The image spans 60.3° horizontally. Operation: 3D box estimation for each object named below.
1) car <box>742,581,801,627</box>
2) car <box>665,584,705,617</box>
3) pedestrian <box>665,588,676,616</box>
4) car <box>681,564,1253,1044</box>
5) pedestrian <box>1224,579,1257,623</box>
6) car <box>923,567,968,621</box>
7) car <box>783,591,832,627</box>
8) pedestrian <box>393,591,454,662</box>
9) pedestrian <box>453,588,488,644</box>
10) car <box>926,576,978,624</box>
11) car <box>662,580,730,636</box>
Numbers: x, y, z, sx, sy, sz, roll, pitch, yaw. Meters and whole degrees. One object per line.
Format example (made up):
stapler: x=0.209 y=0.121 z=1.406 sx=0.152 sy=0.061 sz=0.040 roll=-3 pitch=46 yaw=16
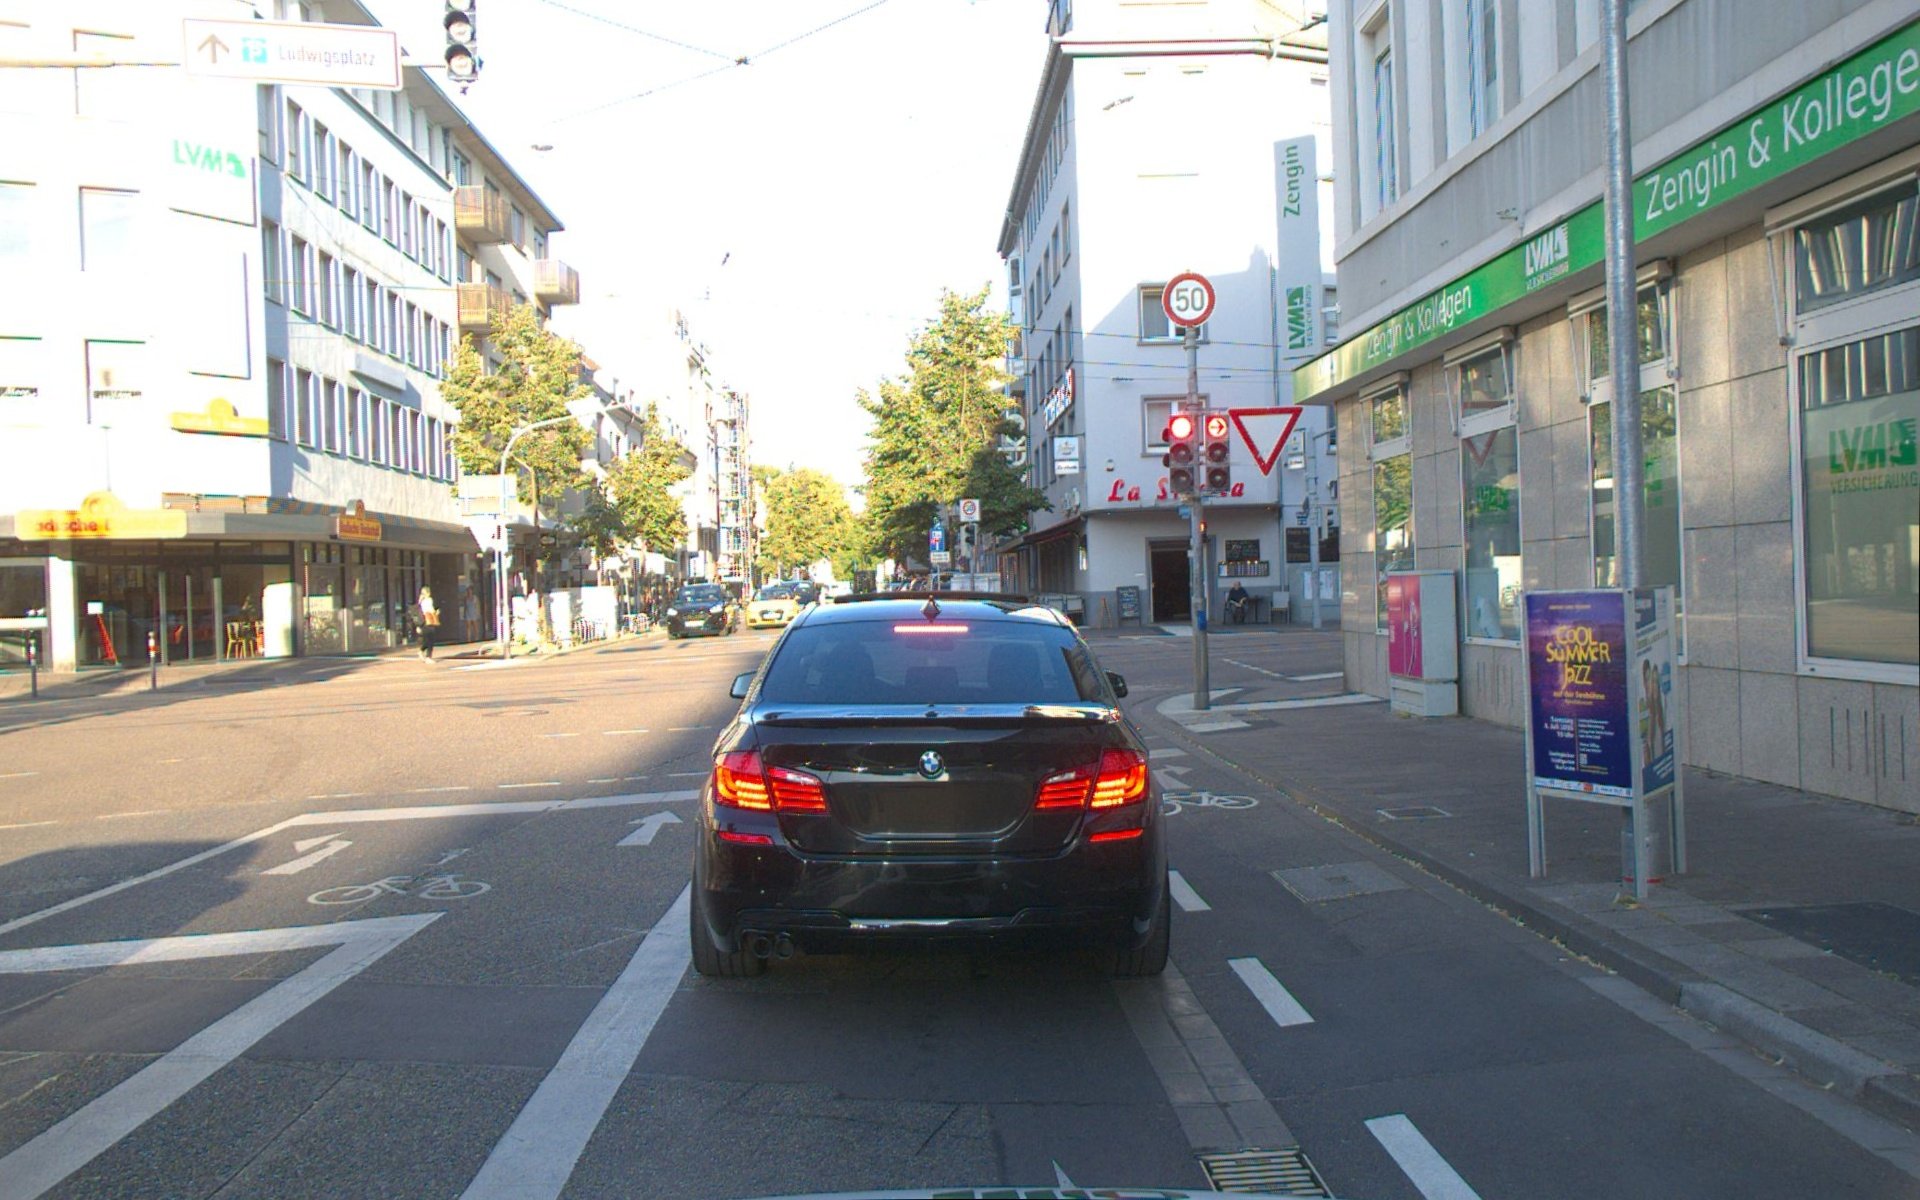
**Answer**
car: x=-6.590 y=0.121 z=57.558 sx=1.956 sy=1.467 sz=3.993 roll=-2 pitch=1 yaw=-8
car: x=-13.084 y=0.016 z=78.805 sx=1.701 sy=1.487 sz=3.993 roll=-2 pitch=1 yaw=-8
pedestrian: x=-15.283 y=0.115 z=87.300 sx=0.435 sy=1.441 sz=0.525 roll=-2 pitch=0 yaw=-4
car: x=-0.085 y=0.651 z=7.667 sx=1.865 sy=1.567 sz=4.447 roll=1 pitch=1 yaw=-3
pedestrian: x=7.874 y=0.025 z=46.429 sx=0.683 sy=1.177 sz=0.843 roll=-2 pitch=0 yaw=-4
car: x=-0.553 y=-0.217 z=60.977 sx=1.393 sy=1.887 sz=3.049 roll=-1 pitch=0 yaw=-5
car: x=-5.955 y=0.332 z=64.334 sx=1.701 sy=1.315 sz=3.993 roll=-2 pitch=1 yaw=-8
pedestrian: x=-12.139 y=0.602 z=37.424 sx=0.892 sy=1.564 sz=0.943 roll=-2 pitch=0 yaw=41
pedestrian: x=-15.238 y=0.488 z=51.465 sx=0.807 sy=1.705 sz=0.871 roll=-2 pitch=0 yaw=-3
car: x=-0.287 y=0.002 z=54.582 sx=1.593 sy=1.497 sz=3.393 roll=-1 pitch=0 yaw=-3
car: x=-8.283 y=0.234 z=52.097 sx=1.956 sy=1.646 sz=3.993 roll=-2 pitch=1 yaw=-8
